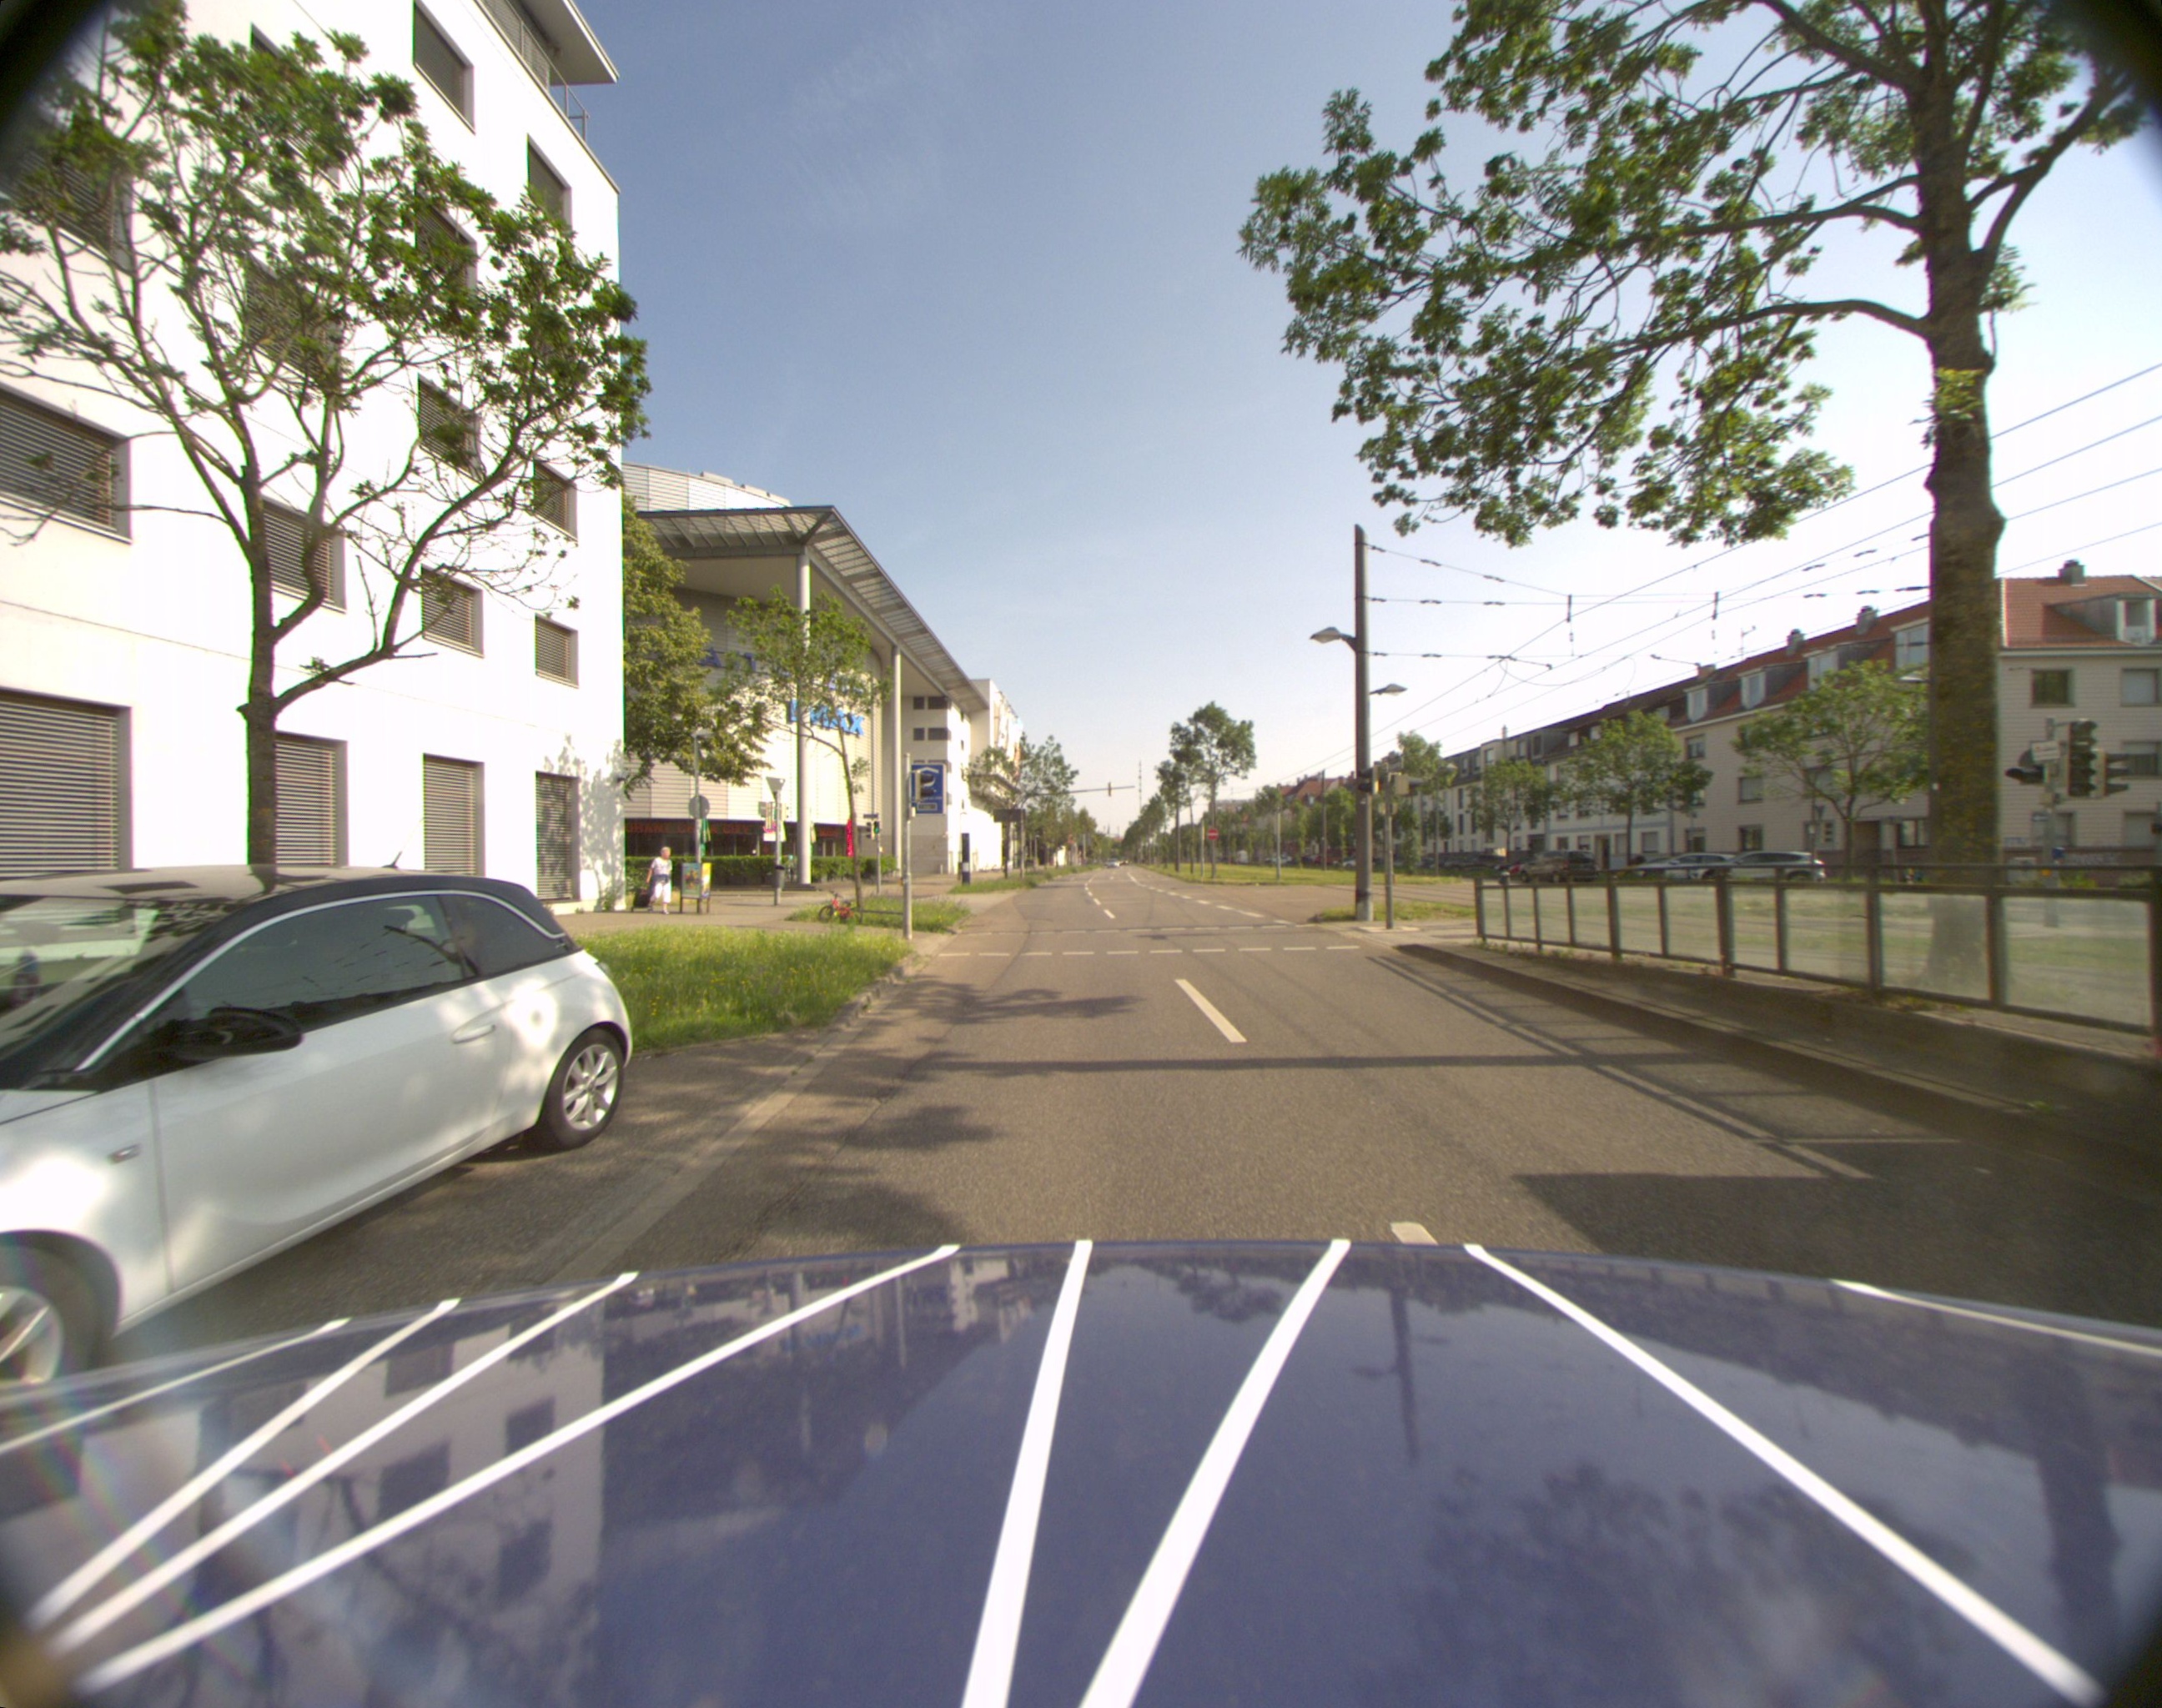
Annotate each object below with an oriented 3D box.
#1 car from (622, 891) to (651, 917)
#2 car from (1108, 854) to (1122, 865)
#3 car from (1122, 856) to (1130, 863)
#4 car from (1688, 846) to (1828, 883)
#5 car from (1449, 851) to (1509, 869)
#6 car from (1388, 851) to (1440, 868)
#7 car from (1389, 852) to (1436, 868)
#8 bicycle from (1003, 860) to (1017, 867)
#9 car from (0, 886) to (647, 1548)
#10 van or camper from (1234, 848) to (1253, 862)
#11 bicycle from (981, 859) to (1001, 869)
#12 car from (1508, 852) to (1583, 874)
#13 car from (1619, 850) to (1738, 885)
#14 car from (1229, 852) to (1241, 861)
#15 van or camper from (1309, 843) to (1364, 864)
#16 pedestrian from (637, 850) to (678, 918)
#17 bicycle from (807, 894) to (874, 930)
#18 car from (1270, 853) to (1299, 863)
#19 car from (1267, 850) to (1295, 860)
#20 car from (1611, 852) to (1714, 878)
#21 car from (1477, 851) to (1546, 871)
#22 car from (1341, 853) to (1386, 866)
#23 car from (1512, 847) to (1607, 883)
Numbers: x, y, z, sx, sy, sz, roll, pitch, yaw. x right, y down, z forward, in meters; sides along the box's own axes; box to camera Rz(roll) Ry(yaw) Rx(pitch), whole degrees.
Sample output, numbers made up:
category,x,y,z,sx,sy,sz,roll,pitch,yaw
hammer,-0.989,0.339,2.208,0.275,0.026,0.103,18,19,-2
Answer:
category,x,y,z,sx,sy,sz,roll,pitch,yaw
car,-10.970,1.223,18.742,0.499,0.584,0.765,0,0,-41
car,5.192,0.848,115.325,1.998,1.652,4.001,-1,0,2
car,11.691,1.468,196.681,1.998,1.652,4.001,-1,0,2
car,29.477,0.487,33.296,4.341,1.455,1.967,-2,0,36
car,30.924,0.462,59.031,4.049,1.280,2.004,-2,0,30
car,31.620,0.511,72.075,4.329,1.368,2.003,-2,0,29
car,30.429,0.559,69.748,3.771,1.368,1.667,-2,0,29
bicycle,-9.022,1.159,96.562,1.661,0.910,0.483,0,0,3
car,-3.455,0.931,2.591,1.724,1.510,3.782,-1,-1,1
van or camper,28.598,0.191,134.064,2.146,2.459,6.059,1,0,2
bicycle,-9.676,1.088,82.031,2.012,1.096,0.676,-1,0,7
car,30.249,0.587,49.501,3.989,1.251,1.879,-2,0,35
car,29.073,0.668,37.075,4.452,1.505,2.004,-2,0,39
car,29.138,0.500,143.828,1.820,1.727,4.162,1,0,4
van or camper,32.919,-0.075,97.947,6.144,2.532,2.419,-1,0,40
pedestrian,-10.238,0.709,18.357,0.715,1.606,0.777,0,1,-41
bicycle,-5.302,1.280,16.786,1.273,0.629,0.521,5,1,10
car,33.988,0.639,126.956,4.355,1.466,1.861,-2,0,40
car,34.130,0.232,129.759,4.088,1.520,1.816,-2,0,40
car,30.066,0.586,39.348,3.989,1.171,2.004,-2,0,43
car,30.106,0.509,53.129,3.989,1.227,1.703,-2,0,36
car,31.719,0.603,85.222,4.388,1.312,1.737,-2,0,35
car,24.938,0.551,39.837,1.998,1.696,4.713,2,0,1
